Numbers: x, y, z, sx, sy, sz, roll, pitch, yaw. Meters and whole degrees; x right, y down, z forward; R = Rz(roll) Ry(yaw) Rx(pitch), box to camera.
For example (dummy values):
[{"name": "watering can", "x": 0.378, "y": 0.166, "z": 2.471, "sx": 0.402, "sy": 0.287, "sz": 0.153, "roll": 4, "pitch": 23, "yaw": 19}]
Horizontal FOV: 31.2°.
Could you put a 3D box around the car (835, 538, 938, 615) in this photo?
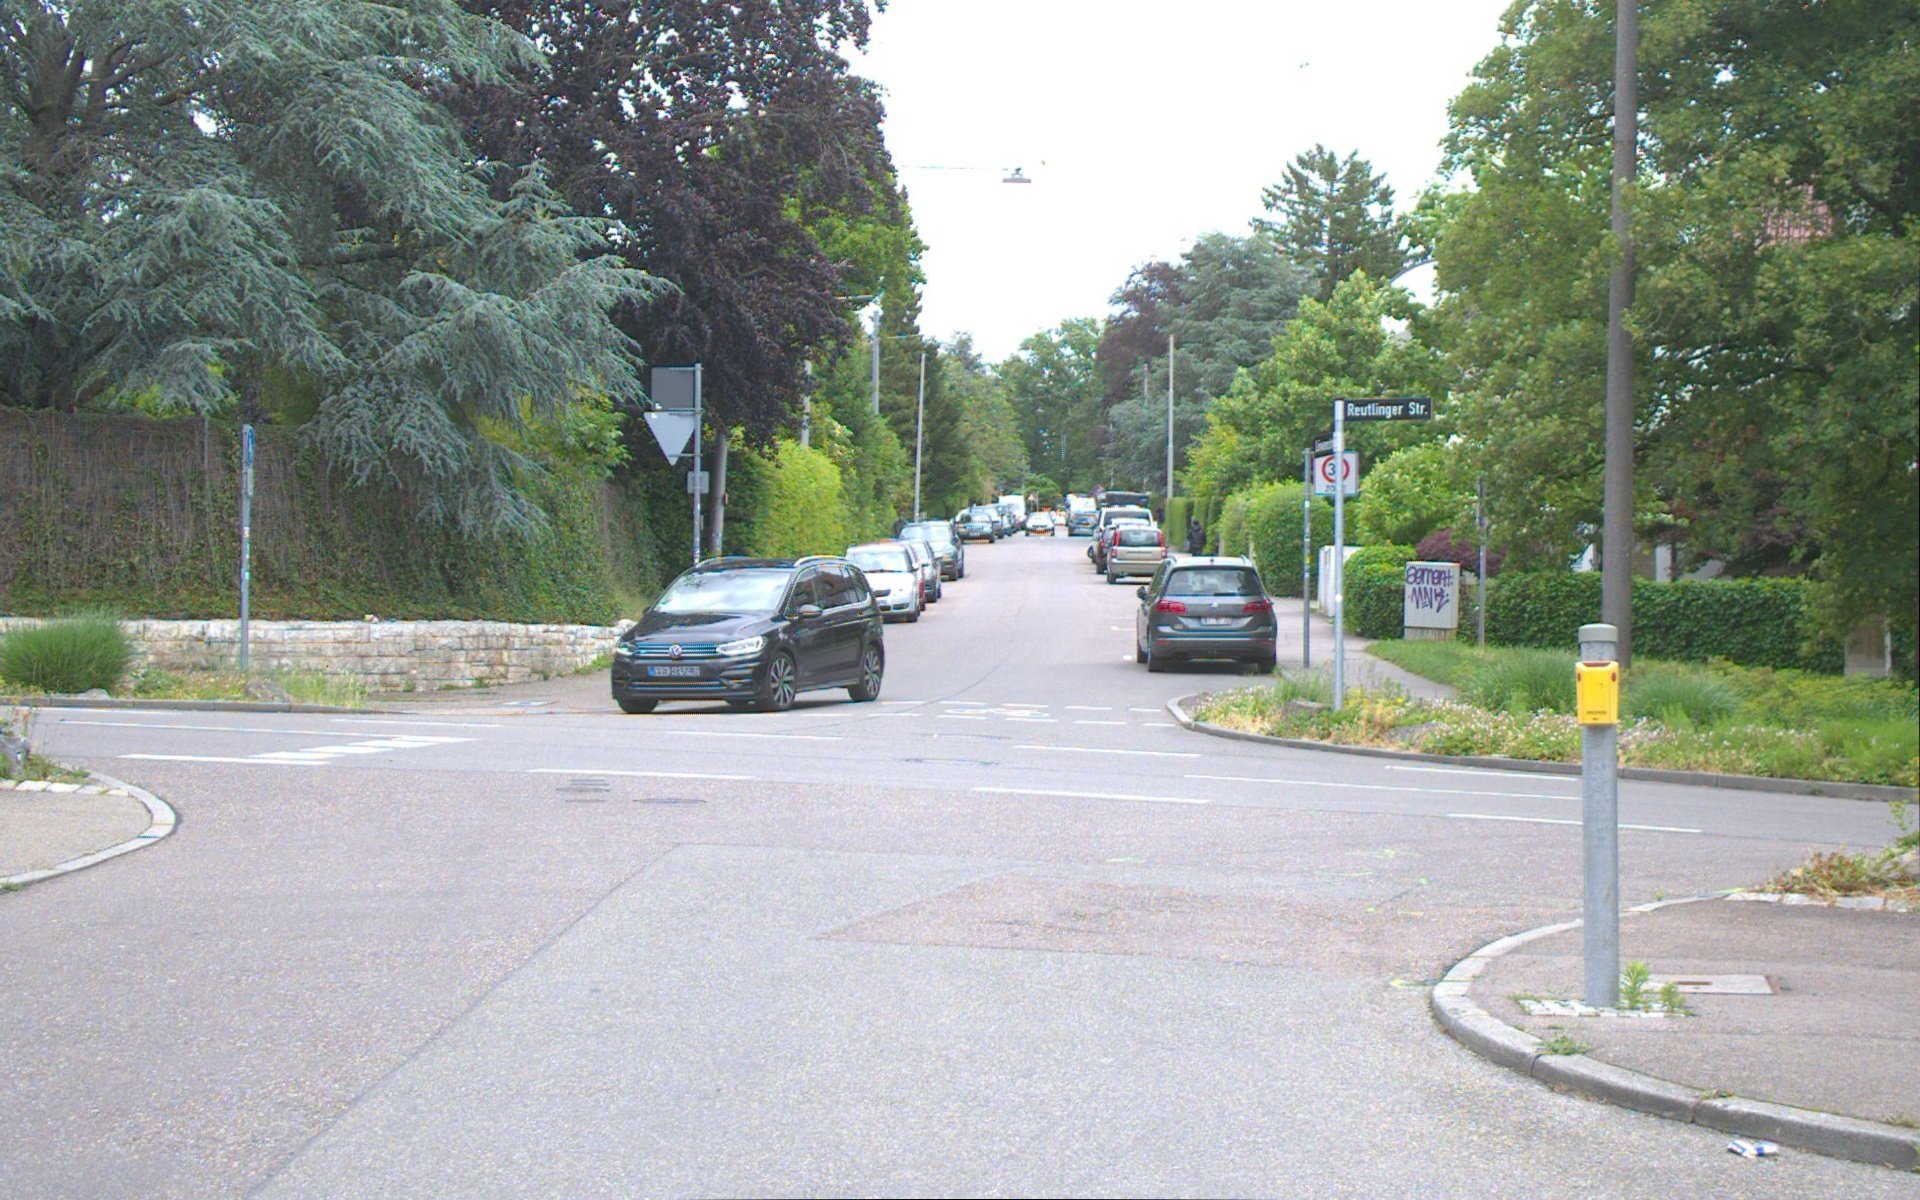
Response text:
[{"name": "car", "x": -1.426, "y": -0.475, "z": 67.910, "sx": 1.946, "sy": 1.437, "sz": 4.000, "roll": 1, "pitch": 1, "yaw": 0}]

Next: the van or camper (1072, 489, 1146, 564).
[{"name": "van or camper", "x": 4.902, "y": -2.394, "z": 113.771, "sx": 2.112, "sy": 2.396, "sz": 5.246, "roll": 1, "pitch": 1, "yaw": -1}]

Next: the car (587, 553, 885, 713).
[{"name": "car", "x": -2.343, "y": 0.319, "z": 37.156, "sx": 1.849, "sy": 1.606, "sz": 4.308, "roll": 1, "pitch": 1, "yaw": 16}]

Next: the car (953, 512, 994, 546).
[{"name": "car", "x": 0.622, "y": -3.214, "z": 156.330, "sx": 1.715, "sy": 1.458, "sz": 3.656, "roll": 3, "pitch": 1, "yaw": 2}]

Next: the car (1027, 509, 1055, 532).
[{"name": "car", "x": 4.944, "y": -4.862, "z": 211.048, "sx": 1.655, "sy": 1.330, "sz": 3.781, "roll": 3, "pitch": 1, "yaw": 1}]

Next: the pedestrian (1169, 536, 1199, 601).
[{"name": "pedestrian", "x": 6.574, "y": -0.915, "z": 101.048, "sx": 0.757, "sy": 1.865, "sz": 0.620, "roll": 3, "pitch": 1, "yaw": 1}]

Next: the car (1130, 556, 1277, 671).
[{"name": "car", "x": 3.354, "y": 0.153, "z": 47.984, "sx": 1.817, "sy": 1.531, "sz": 4.000, "roll": 0, "pitch": 1, "yaw": 1}]

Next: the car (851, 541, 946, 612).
[{"name": "car", "x": -1.281, "y": -0.525, "z": 73.058, "sx": 1.946, "sy": 1.437, "sz": 4.000, "roll": 1, "pitch": 1, "yaw": 0}]

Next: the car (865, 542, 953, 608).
[{"name": "car", "x": -1.145, "y": -0.578, "z": 78.541, "sx": 1.946, "sy": 1.437, "sz": 4.000, "roll": 1, "pitch": 1, "yaw": 0}]

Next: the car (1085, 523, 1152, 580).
[{"name": "car", "x": 4.636, "y": -1.420, "z": 100.881, "sx": 1.747, "sy": 1.634, "sz": 3.728, "roll": 1, "pitch": 1, "yaw": 0}]

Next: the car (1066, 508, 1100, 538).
[{"name": "car", "x": 6.754, "y": -4.232, "z": 188.867, "sx": 1.815, "sy": 1.568, "sz": 4.000, "roll": 1, "pitch": 1, "yaw": 1}]

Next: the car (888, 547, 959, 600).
[{"name": "car", "x": -1.012, "y": -0.755, "z": 96.406, "sx": 1.946, "sy": 1.437, "sz": 4.000, "roll": 1, "pitch": 1, "yaw": 0}]

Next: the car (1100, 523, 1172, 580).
[{"name": "car", "x": 4.647, "y": -1.293, "z": 91.184, "sx": 1.609, "sy": 1.409, "sz": 3.473, "roll": 3, "pitch": 1, "yaw": -1}]

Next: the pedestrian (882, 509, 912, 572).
[{"name": "pedestrian", "x": -2.077, "y": -1.964, "z": 113.579, "sx": 0.853, "sy": 2.007, "sz": 0.873, "roll": 3, "pitch": 1, "yaw": -4}]
